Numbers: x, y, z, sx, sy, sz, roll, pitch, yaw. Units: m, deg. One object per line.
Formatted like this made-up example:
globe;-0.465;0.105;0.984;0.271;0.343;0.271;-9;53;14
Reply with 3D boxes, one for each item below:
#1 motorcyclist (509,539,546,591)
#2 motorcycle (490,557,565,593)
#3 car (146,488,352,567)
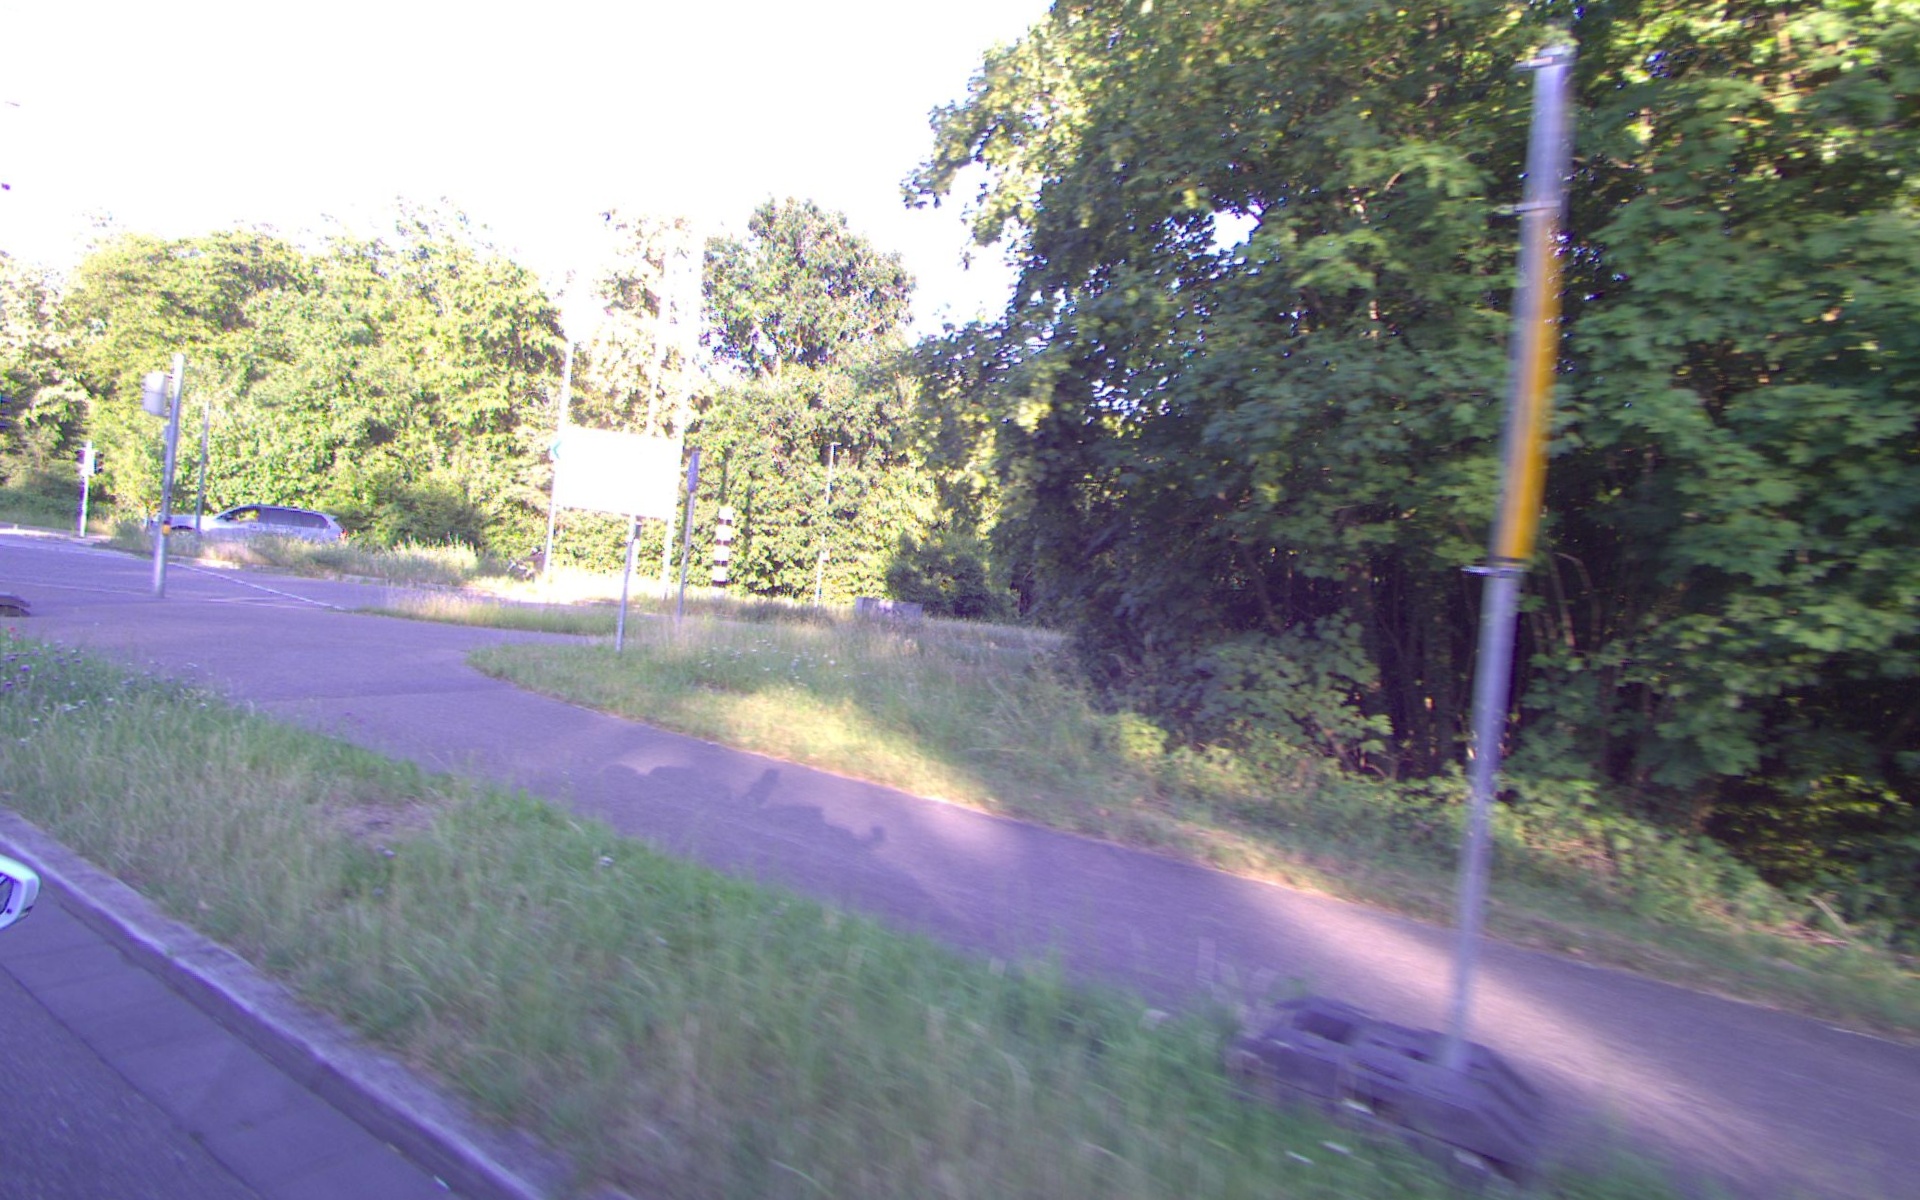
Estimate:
motorcyclist;-14.363;-1.162;33.426;0.881;1.615;0.648;6;1;-36
motorcycle;-14.385;-0.822;33.460;2.132;0.921;0.656;7;0;-36
car;-21.076;-2.129;30.045;4.788;1.618;1.980;7;0;-36
